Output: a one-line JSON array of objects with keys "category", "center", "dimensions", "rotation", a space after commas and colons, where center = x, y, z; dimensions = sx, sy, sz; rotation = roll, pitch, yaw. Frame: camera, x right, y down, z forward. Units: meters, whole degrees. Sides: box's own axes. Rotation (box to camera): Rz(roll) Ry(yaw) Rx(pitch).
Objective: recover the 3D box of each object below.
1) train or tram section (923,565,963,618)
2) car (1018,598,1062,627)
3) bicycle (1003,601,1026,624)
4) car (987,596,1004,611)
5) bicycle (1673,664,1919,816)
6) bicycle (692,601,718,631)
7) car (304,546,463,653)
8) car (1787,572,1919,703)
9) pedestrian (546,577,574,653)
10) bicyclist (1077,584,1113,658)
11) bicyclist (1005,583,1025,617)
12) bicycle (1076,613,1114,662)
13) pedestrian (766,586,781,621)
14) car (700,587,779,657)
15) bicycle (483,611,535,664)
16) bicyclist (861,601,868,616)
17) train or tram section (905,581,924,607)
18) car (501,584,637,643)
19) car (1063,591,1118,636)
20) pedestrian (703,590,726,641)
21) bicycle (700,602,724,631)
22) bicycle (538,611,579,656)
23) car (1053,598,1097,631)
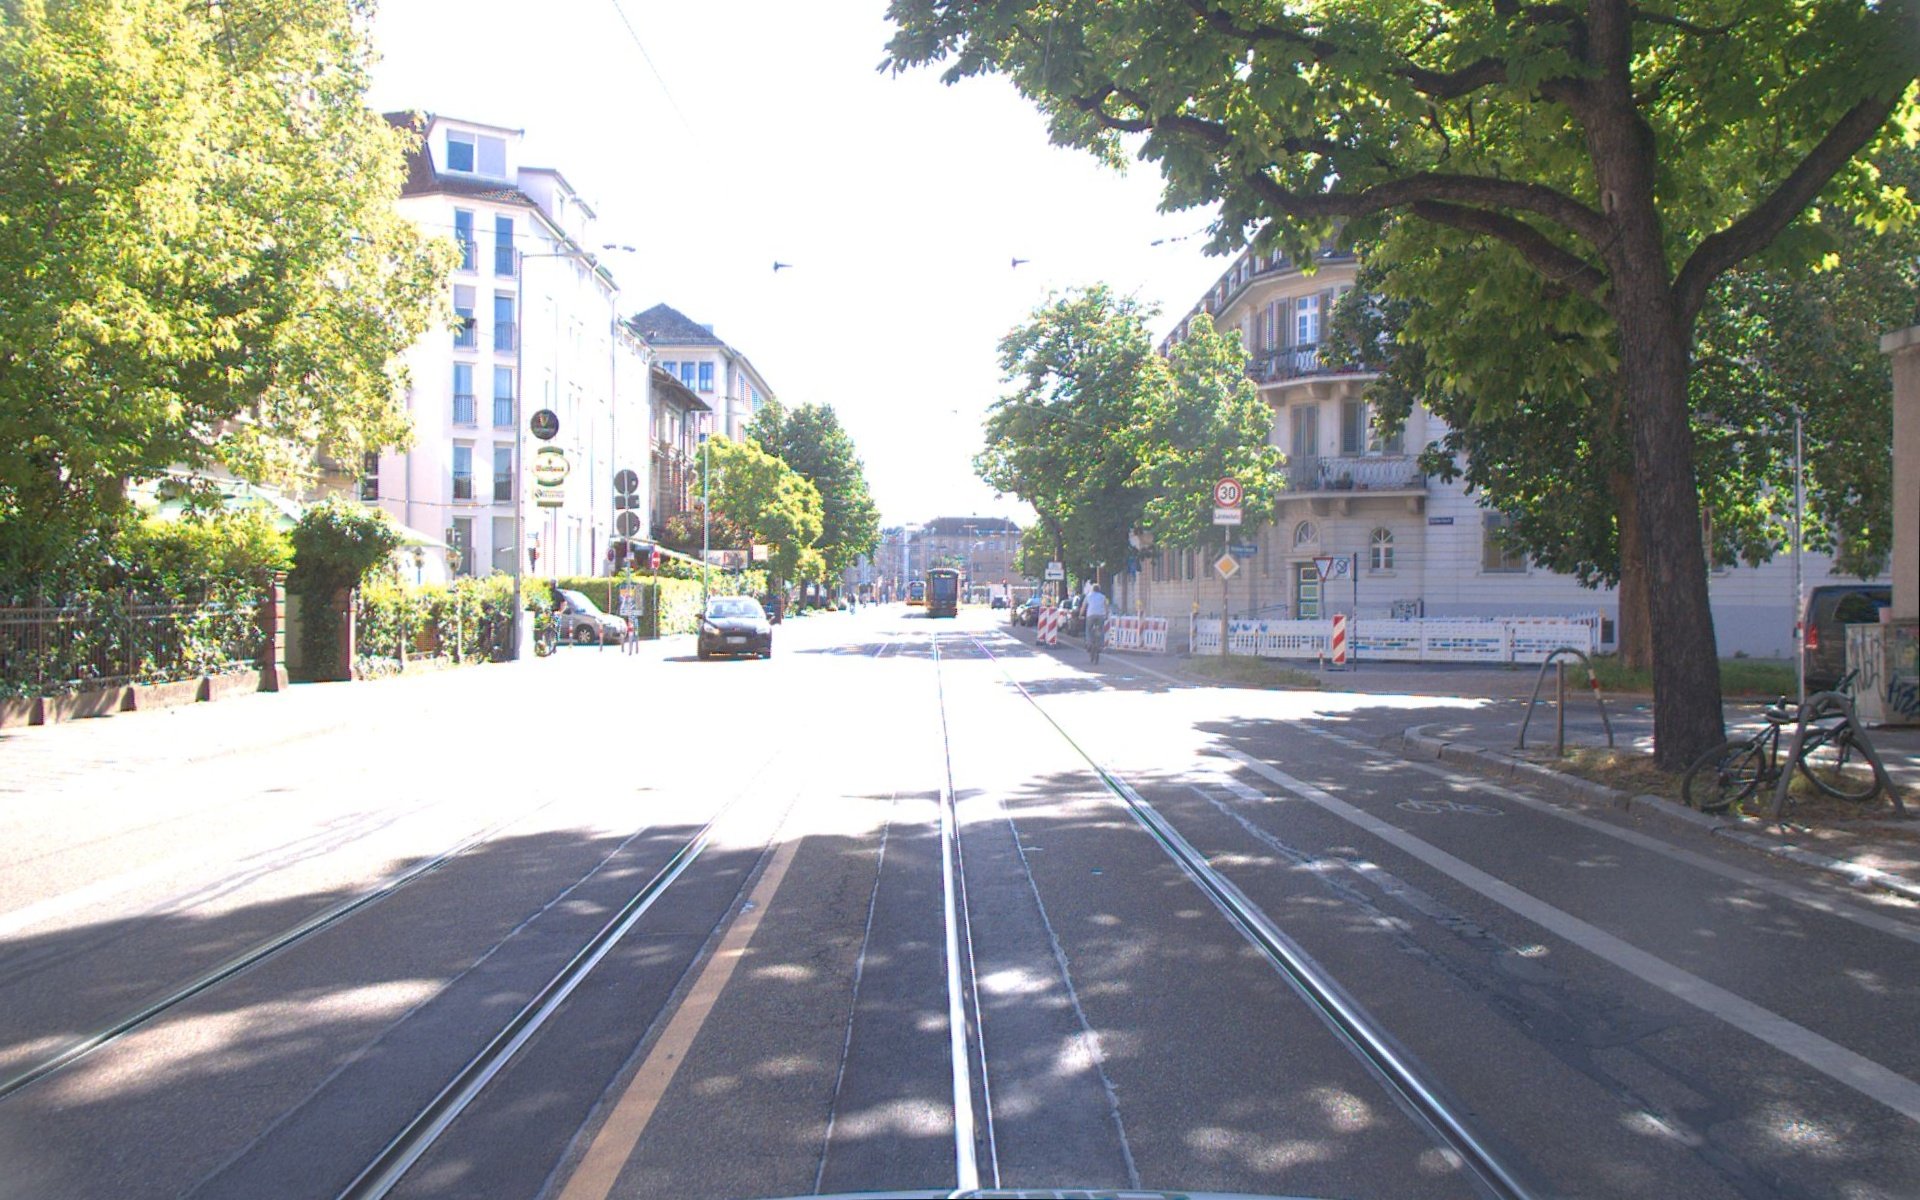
[{"category": "train or tram section", "center": [-1.372, -0.636, 123.313], "dimensions": [2.687, 3.715, 13.781], "rotation": [1, 0, -2]}, {"category": "car", "center": [4.302, 0.655, 89.915], "dimensions": [1.786, 1.484, 4.814], "rotation": [-1, 0, -4]}, {"category": "bicycle", "center": [2.839, 0.650, 86.455], "dimensions": [0.690, 1.124, 1.718], "rotation": [2, 0, 18]}, {"category": "car", "center": [4.139, 0.436, 190.440], "dimensions": [1.751, 1.632, 3.714], "rotation": [2, 0, 3]}, {"category": "bicycle", "center": [6.037, 0.990, 11.944], "dimensions": [1.537, 0.997, 0.639], "rotation": [-1, 0, -10]}, {"category": "bicycle", "center": [-9.976, 0.625, 64.728], "dimensions": [0.648, 1.108, 1.840], "rotation": [3, -1, 0]}, {"category": "car", "center": [-16.385, 0.035, 47.290], "dimensions": [1.846, 2.891, 4.786], "rotation": [0, -1, 16]}, {"category": "car", "center": [15.246, 0.604, 24.864], "dimensions": [4.950, 1.923, 1.998], "rotation": [1, -2, 25]}, {"category": "pedestrian", "center": [-9.707, 0.359, 40.163], "dimensions": [0.546, 1.813, 0.538], "rotation": [1, 0, -4]}, {"category": "bicyclist", "center": [3.204, 0.501, 39.314], "dimensions": [0.723, 1.715, 0.972], "rotation": [2, 0, 1]}, {"category": "bicyclist", "center": [2.865, -0.007, 86.465], "dimensions": [0.690, 1.704, 1.102], "rotation": [2, 0, 19]}, {"category": "bicycle", "center": [3.193, 0.876, 39.325], "dimensions": [0.723, 1.113, 2.111], "rotation": [2, 0, 1]}, {"category": "pedestrian", "center": [-10.060, 0.190, 89.214], "dimensions": [0.563, 1.863, 0.689], "rotation": [1, 0, 18]}, {"category": "car", "center": [-5.562, 0.519, 41.438], "dimensions": [1.830, 1.604, 4.579], "rotation": [-1, 0, -9]}, {"category": "bicycle", "center": [-9.448, 0.763, 34.707], "dimensions": [0.503, 1.056, 2.222], "rotation": [1, 0, -1]}, {"category": "bicyclist", "center": [-10.760, 0.960, 186.199], "dimensions": [0.672, 1.673, 1.238], "rotation": [-1, 0, 3]}, {"category": "train or tram section", "center": [-6.678, -0.977, 244.660], "dimensions": [2.687, 3.715, 13.781], "rotation": [1, 0, -2]}, {"category": "car", "center": [-12.629, 0.449, 53.467], "dimensions": [3.957, 1.839, 1.792], "rotation": [0, -1, 20]}, {"category": "car", "center": [5.119, 0.495, 65.398], "dimensions": [1.773, 1.654, 4.583], "rotation": [-2, 0, 0]}, {"category": "pedestrian", "center": [-8.687, 0.540, 58.449], "dimensions": [0.677, 1.799, 0.866], "rotation": [0, 0, -1]}, {"category": "bicycle", "center": [-10.022, 0.683, 66.787], "dimensions": [0.648, 1.108, 1.840], "rotation": [3, -1, 0]}, {"category": "bicycle", "center": [-9.360, 0.772, 38.598], "dimensions": [0.516, 0.998, 1.777], "rotation": [0, 0, -1]}, {"category": "car", "center": [5.066, 0.622, 73.258], "dimensions": [1.688, 1.406, 4.356], "rotation": [-1, 0, 1]}]
